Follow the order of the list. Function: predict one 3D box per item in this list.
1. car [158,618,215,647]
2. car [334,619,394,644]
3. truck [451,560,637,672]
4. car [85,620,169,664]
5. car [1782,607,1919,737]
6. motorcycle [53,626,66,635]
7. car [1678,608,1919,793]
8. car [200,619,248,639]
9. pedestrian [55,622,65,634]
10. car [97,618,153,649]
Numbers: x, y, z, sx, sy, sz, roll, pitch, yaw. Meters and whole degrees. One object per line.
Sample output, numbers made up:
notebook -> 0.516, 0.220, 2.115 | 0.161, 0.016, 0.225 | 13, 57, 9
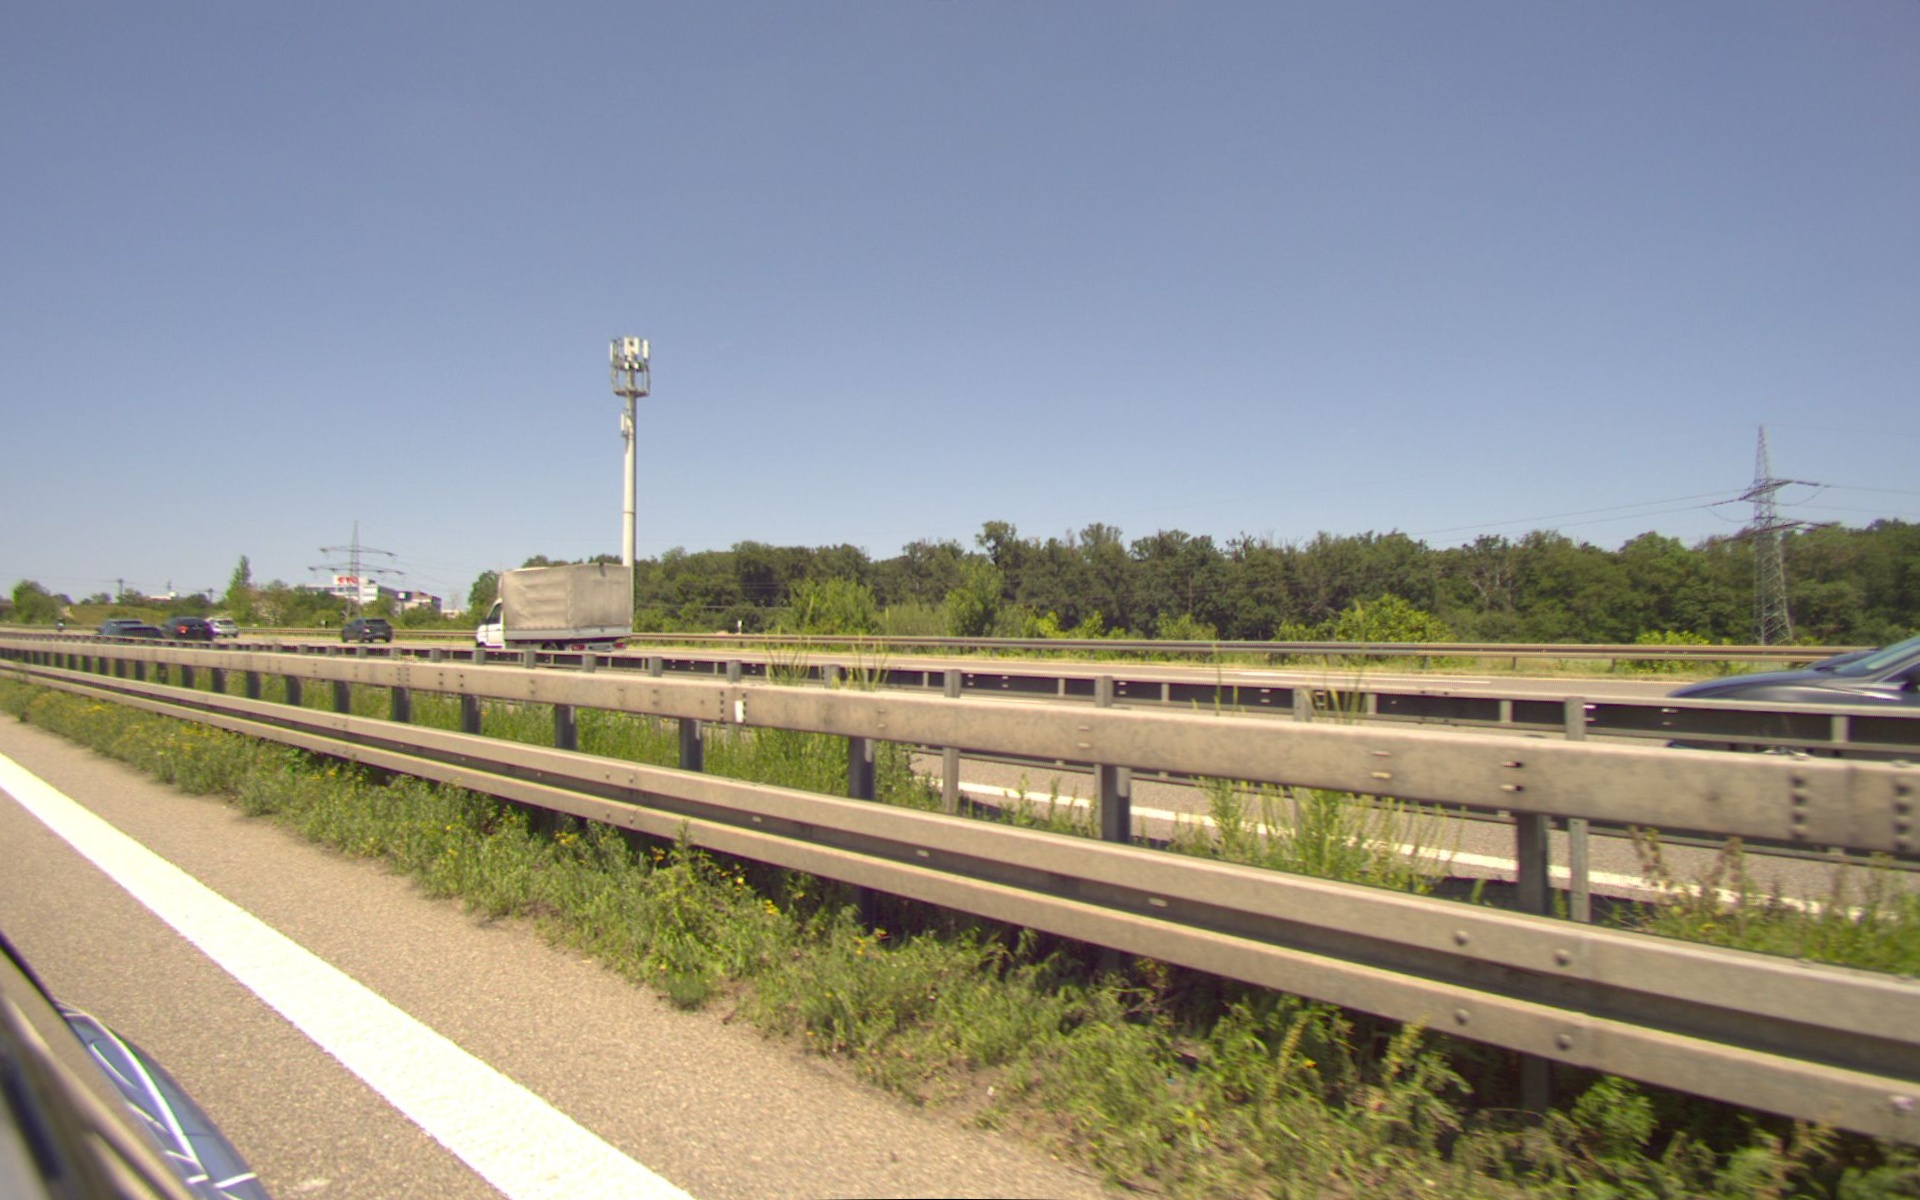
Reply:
car -> -46.571, 1.938, 60.877 | 4.908, 1.668, 1.827 | -1, -1, 42
car -> -37.242, 1.949, 63.210 | 4.218, 1.543, 1.829 | -1, -1, 39
truck -> -13.816, 0.502, 33.281 | 7.654, 3.302, 2.352 | -1, -1, 40
car -> -33.253, 1.631, 40.369 | 4.827, 1.637, 1.730 | -1, -1, 40
car -> 11.828, 0.785, 11.315 | 3.998, 1.431, 1.885 | -2, -2, 42
motorcycle -> -99.920, 3.371, 112.308 | 2.485, 1.023, 0.651 | -1, -1, 39
car -> 8.884, 0.786, 8.178 | 4.857, 1.475, 1.771 | -2, -2, 42
car -> -57.907, 2.261, 79.635 | 4.368, 1.543, 2.084 | -1, -1, 40
pedestrian -> -99.873, 3.059, 112.269 | 1.034, 1.326, 0.644 | -1, -1, 39
car -> -45.289, 1.785, 54.881 | 4.083, 1.637, 1.658 | -1, -1, 41
